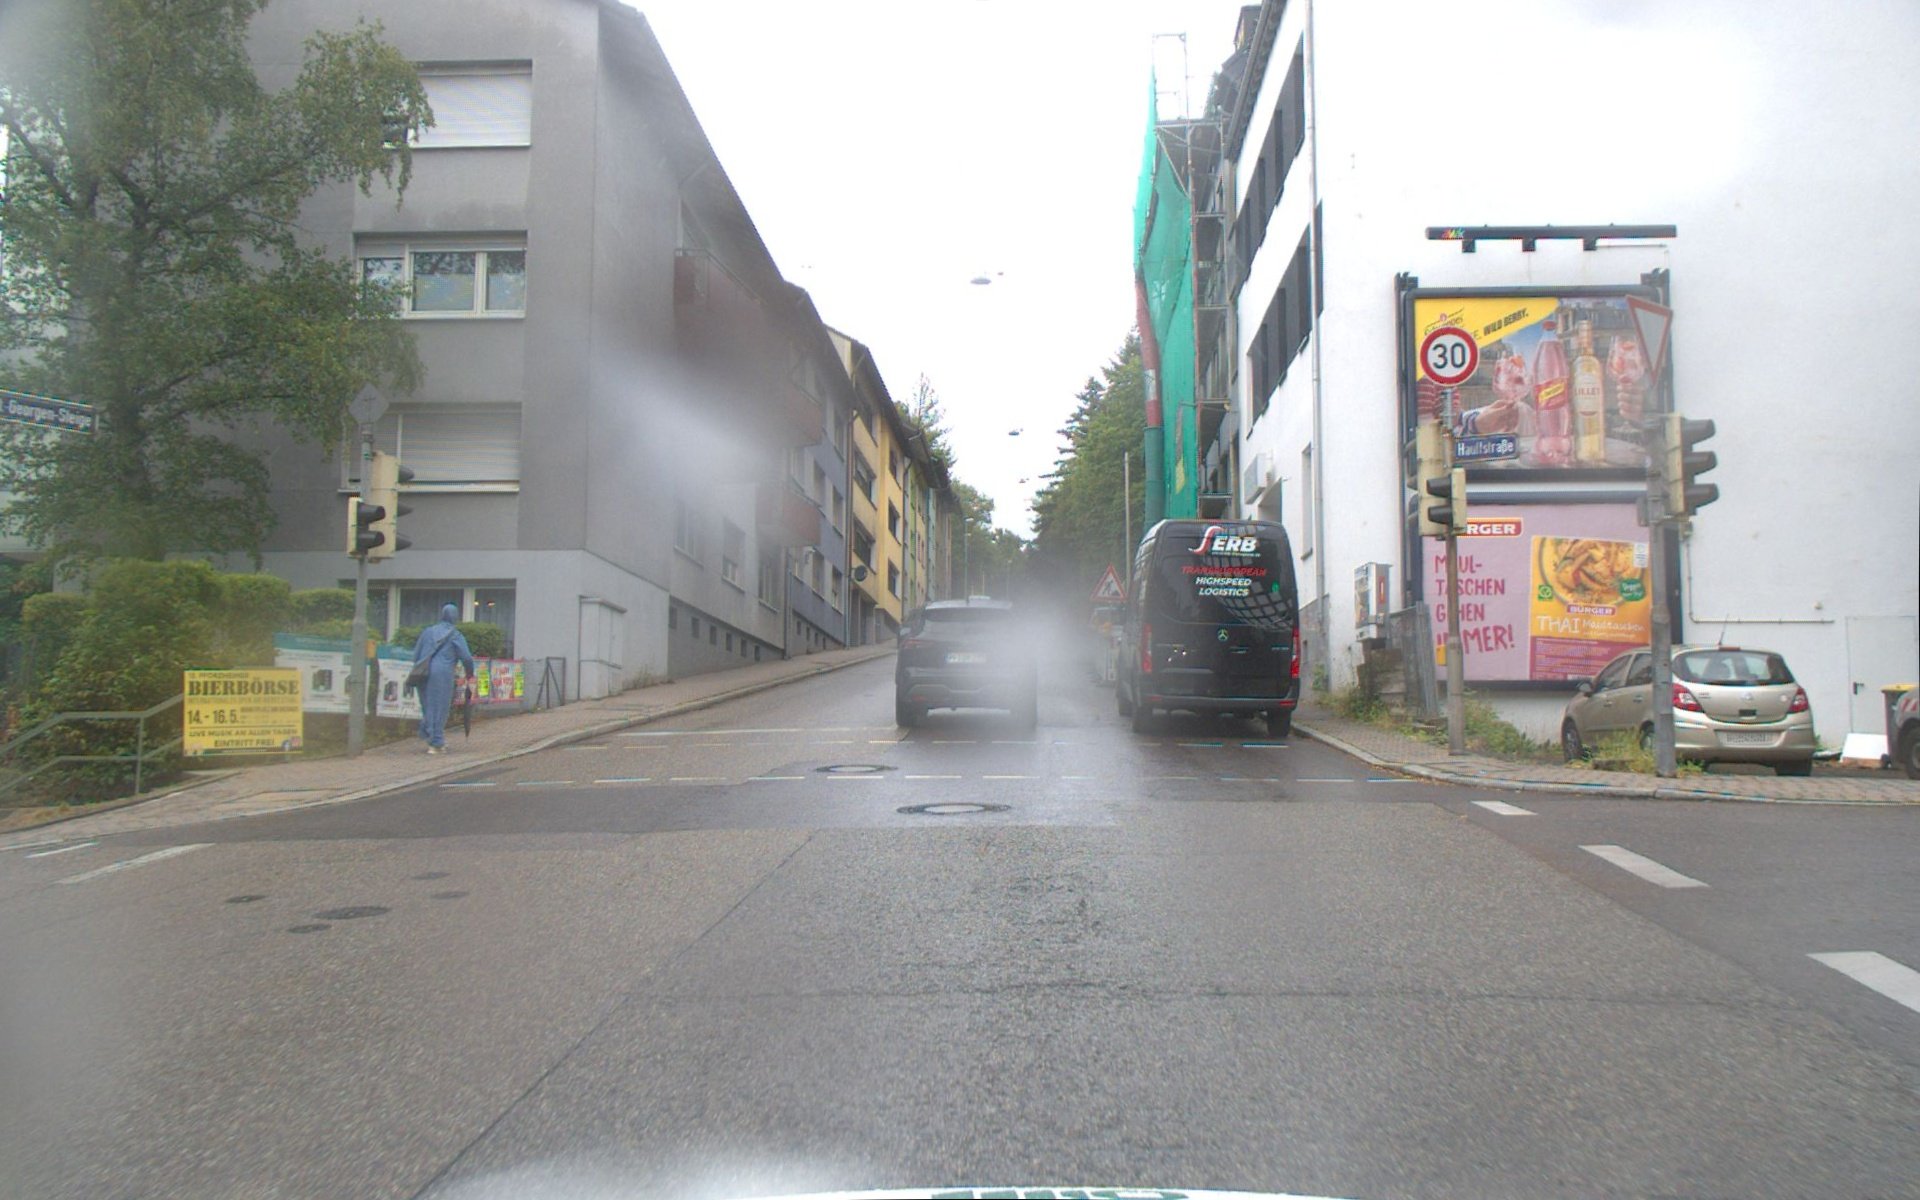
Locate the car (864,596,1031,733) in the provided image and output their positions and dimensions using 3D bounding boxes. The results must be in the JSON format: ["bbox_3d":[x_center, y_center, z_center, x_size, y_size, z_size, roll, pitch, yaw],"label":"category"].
[{"bbox_3d":[-0.066,0.773,21.944,1.952,1.587,4.002,1,0,3],"label":"car"}]

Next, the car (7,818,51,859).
[{"bbox_3d":[-53.498,13.681,95.060,2.170,1.679,4.397,0,0,-29],"label":"car"}]

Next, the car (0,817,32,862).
[{"bbox_3d":[-49.615,12.471,86.156,2.170,1.679,4.397,0,0,-29],"label":"car"}]

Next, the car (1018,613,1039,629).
[{"bbox_3d":[6.744,2.052,163.530,2.031,1.587,4.001,0,0,1],"label":"car"}]

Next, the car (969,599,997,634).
[{"bbox_3d":[1.766,1.204,124.835,1.949,2.518,5.785,0,0,2],"label":"car"}]

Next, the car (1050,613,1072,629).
[{"bbox_3d":[10.598,2.215,173.949,2.032,1.587,3.999,0,0,0],"label":"car"}]

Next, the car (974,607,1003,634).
[{"bbox_3d":[2.030,1.422,116.584,1.949,1.786,4.481,0,0,2],"label":"car"}]

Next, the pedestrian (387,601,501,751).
[{"bbox_3d":[-5.613,0.826,18.065,0.851,1.568,1.087,1,-3,0],"label":"pedestrian"}]

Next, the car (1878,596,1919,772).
[{"bbox_3d":[11.418,0.892,17.024,1.692,1.946,4.241,1,-2,2],"label":"car"}]

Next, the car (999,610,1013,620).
[{"bbox_3d":[6.883,2.268,249.116,2.031,1.587,4.001,0,0,2],"label":"car"}]

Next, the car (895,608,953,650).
[{"bbox_3d":[-1.495,1.213,70.018,1.951,1.679,4.444,0,0,5],"label":"car"}]

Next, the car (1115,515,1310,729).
[{"bbox_3d":[3.222,0.376,22.213,1.952,2.456,5.837,1,-2,3],"label":"car"}]

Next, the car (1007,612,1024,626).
[{"bbox_3d":[6.523,2.236,195.248,2.031,1.587,4.001,0,0,2],"label":"car"}]

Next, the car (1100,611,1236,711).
[{"bbox_3d":[3.483,0.995,28.400,1.952,1.539,4.338,1,-1,3],"label":"car"}]

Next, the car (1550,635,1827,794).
[{"bbox_3d":[8.319,1.237,19.264,1.529,1.510,4.001,1,0,1],"label":"car"}]
